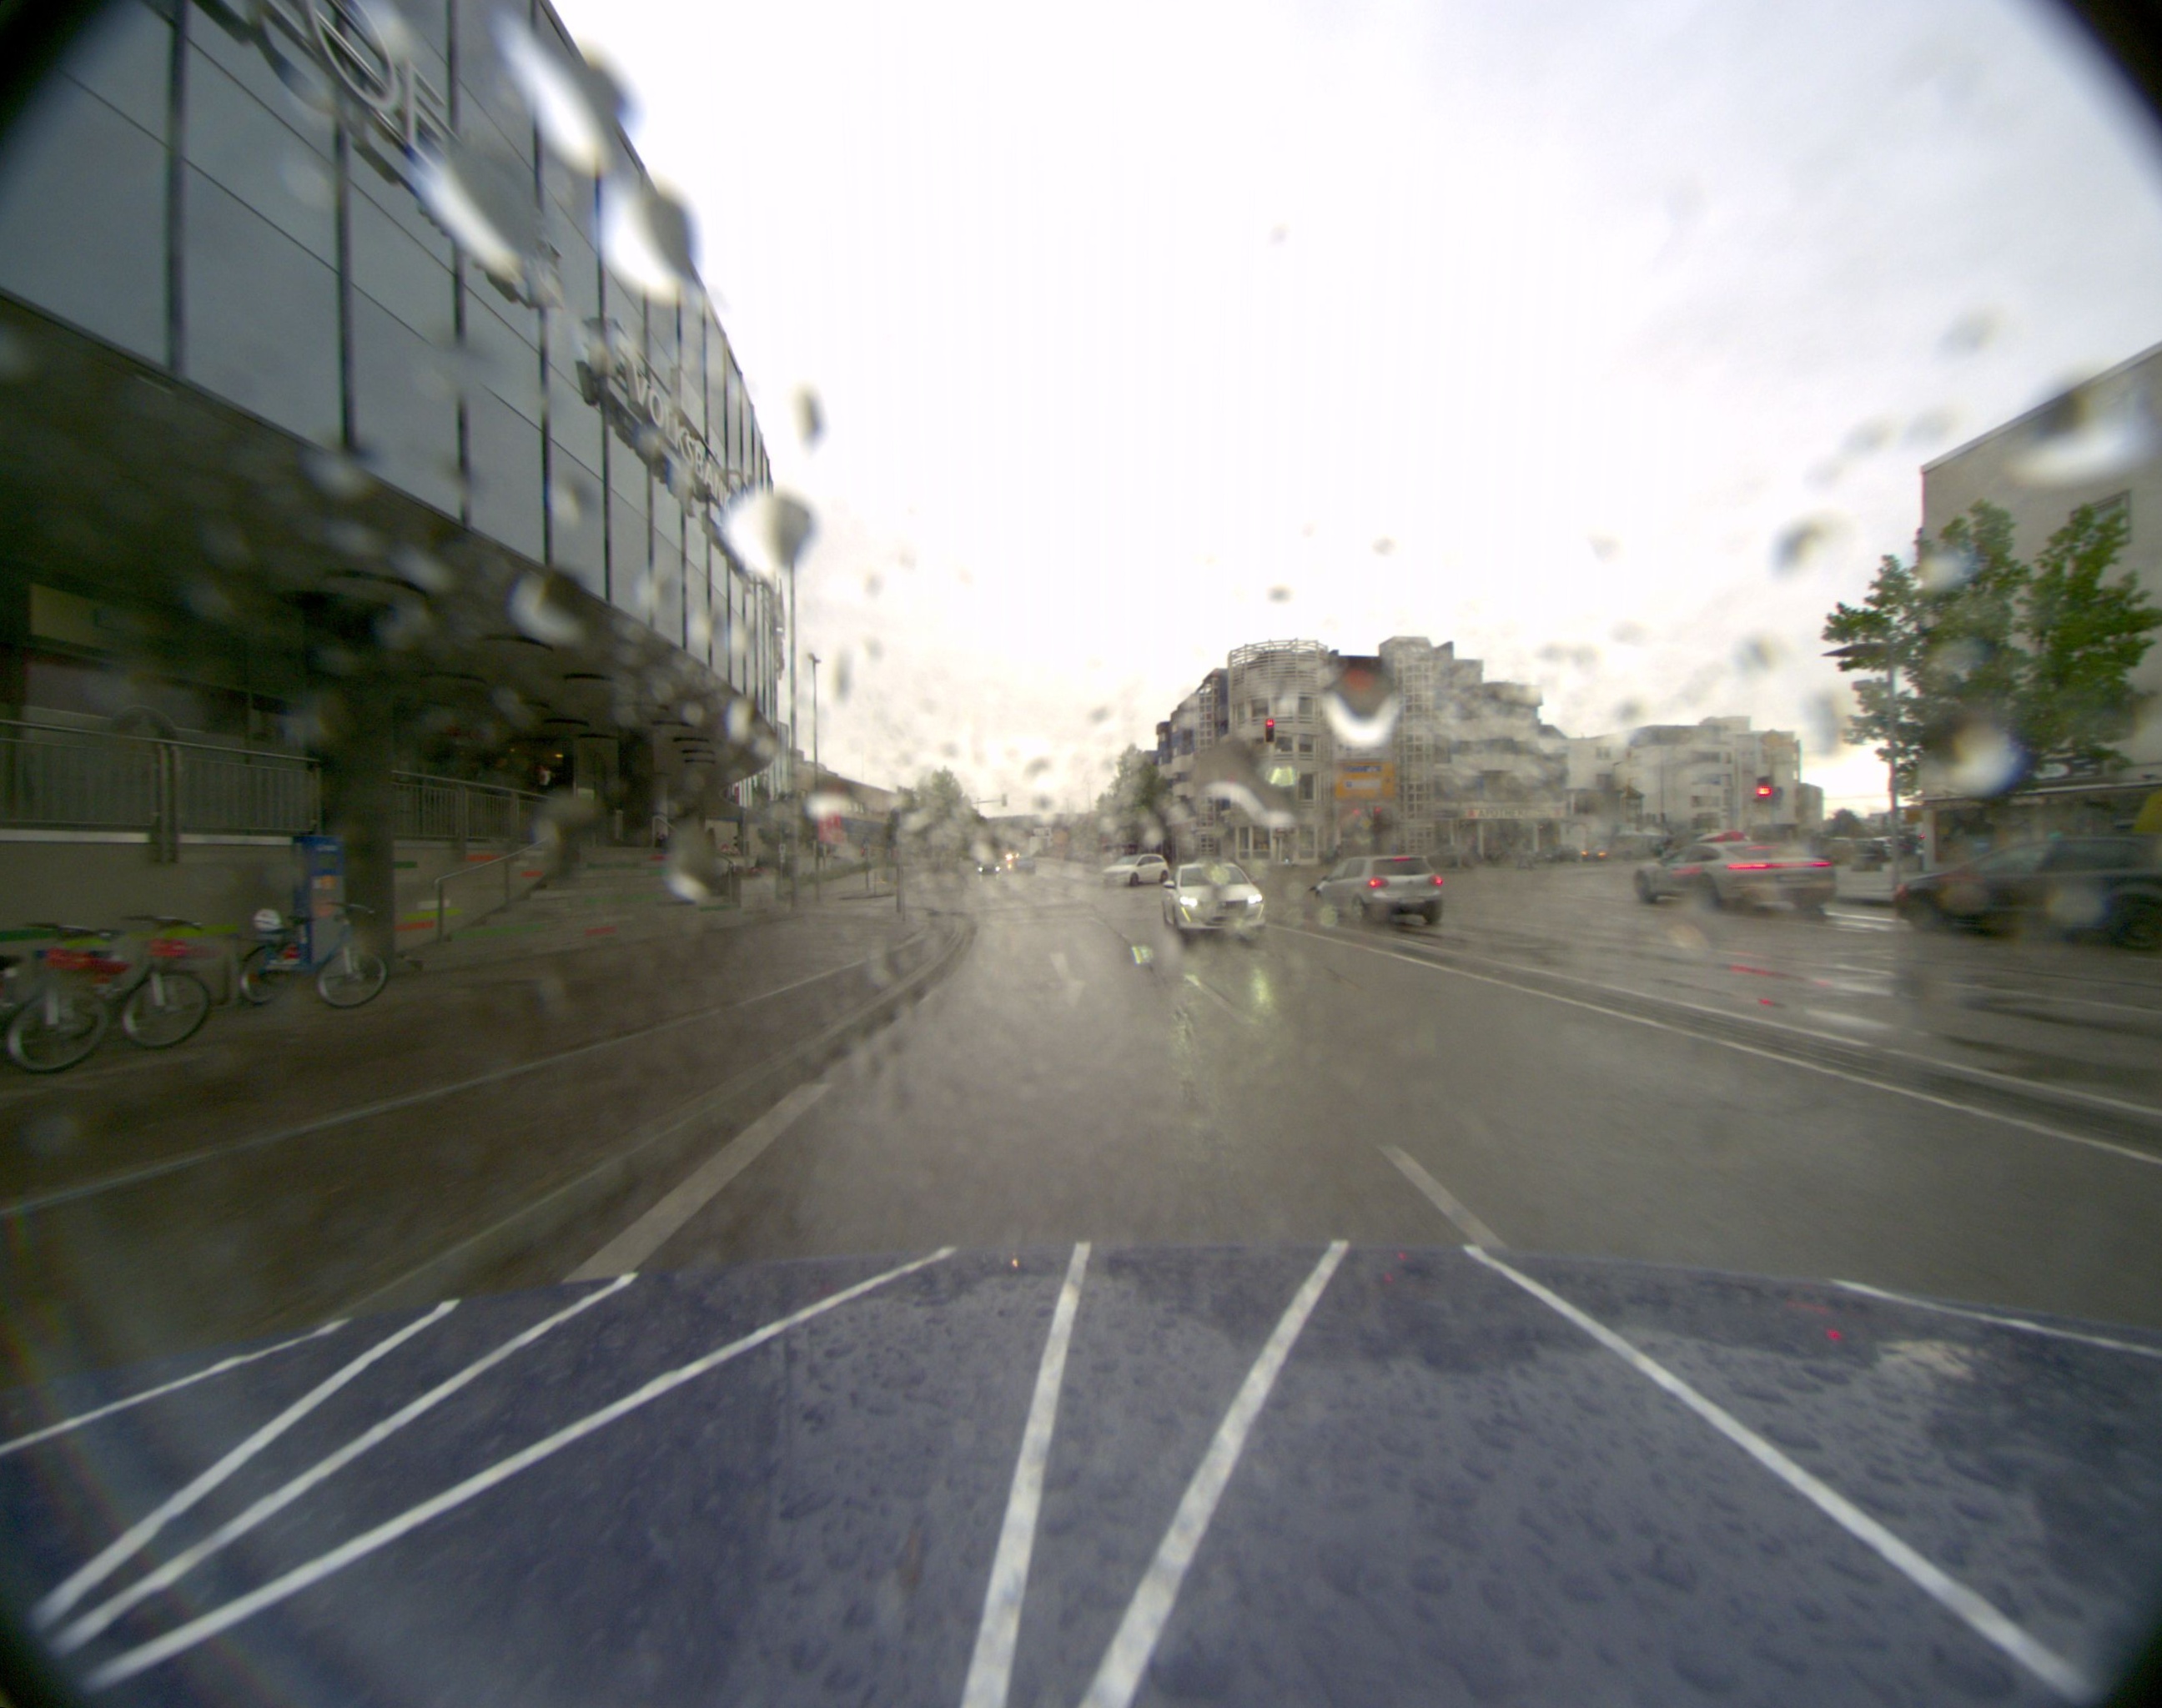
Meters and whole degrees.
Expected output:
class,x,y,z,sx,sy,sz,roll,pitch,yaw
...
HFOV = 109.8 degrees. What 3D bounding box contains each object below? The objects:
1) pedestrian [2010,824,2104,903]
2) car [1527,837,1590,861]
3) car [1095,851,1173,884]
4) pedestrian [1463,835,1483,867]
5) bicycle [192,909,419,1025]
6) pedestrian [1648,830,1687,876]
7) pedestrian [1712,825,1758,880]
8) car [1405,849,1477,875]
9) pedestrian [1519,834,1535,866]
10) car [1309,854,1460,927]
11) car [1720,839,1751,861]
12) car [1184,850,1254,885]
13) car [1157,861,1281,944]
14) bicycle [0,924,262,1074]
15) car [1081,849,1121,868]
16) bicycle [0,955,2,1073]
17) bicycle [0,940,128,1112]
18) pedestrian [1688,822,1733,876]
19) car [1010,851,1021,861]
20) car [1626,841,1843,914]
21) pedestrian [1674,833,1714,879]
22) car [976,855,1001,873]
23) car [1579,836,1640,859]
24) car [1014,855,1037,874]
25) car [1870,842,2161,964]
class,x,y,z,sx,sy,sz,roll,pitch,yaw
pedestrian,20.935,0.199,16.322,1.009,1.636,0.727,-2,0,6
car,36.182,-0.363,57.640,3.896,1.710,1.746,-1,0,-11
car,2.839,0.683,39.971,1.758,1.540,4.335,-3,0,41
pedestrian,21.962,-0.151,42.580,0.837,1.733,0.585,-2,1,12
bicycle,-8.319,1.189,8.195,1.834,1.104,0.694,1,1,5
pedestrian,24.786,-0.039,32.137,0.905,1.903,0.978,-1,0,6
pedestrian,24.736,-0.048,28.756,0.905,2.002,0.978,-1,0,6
car,21.953,0.494,46.399,3.842,1.481,1.631,-1,0,-16
pedestrian,24.099,-0.221,41.068,0.682,1.733,0.586,-2,1,32
car,6.716,0.777,17.319,1.762,1.442,4.000,-1,-1,-1
car,62.595,-0.374,72.696,1.994,2.002,4.608,-1,0,38
car,6.485,0.607,35.458,1.672,1.533,3.921,-2,-1,35
car,2.691,0.901,15.714,1.876,1.453,3.873,-1,0,1
bicycle,-8.281,1.205,6.534,1.814,1.104,0.694,1,0,5
car,1.830,0.369,69.824,1.904,1.518,3.989,-1,3,-29
bicycle,-8.308,1.221,4.914,1.814,1.104,0.694,1,0,5
bicycle,-8.313,1.221,5.617,1.805,1.079,0.685,1,1,5
pedestrian,23.734,-0.186,28.657,0.905,2.002,0.978,-1,0,6
car,-10.731,0.282,124.537,1.583,1.630,3.640,-1,0,-3
car,14.476,0.467,17.258,1.760,1.418,4.893,-1,0,15
pedestrian,25.835,0.099,32.023,0.905,1.903,0.978,-1,0,6
car,-8.048,0.893,66.629,1.901,1.517,3.999,-1,0,-3
car,41.698,-0.501,59.960,3.896,1.710,1.746,-1,0,-11
car,-4.747,0.907,65.934,1.901,1.517,3.999,-1,0,-3
car,13.483,0.575,10.214,1.761,1.418,4.002,-1,-1,4
